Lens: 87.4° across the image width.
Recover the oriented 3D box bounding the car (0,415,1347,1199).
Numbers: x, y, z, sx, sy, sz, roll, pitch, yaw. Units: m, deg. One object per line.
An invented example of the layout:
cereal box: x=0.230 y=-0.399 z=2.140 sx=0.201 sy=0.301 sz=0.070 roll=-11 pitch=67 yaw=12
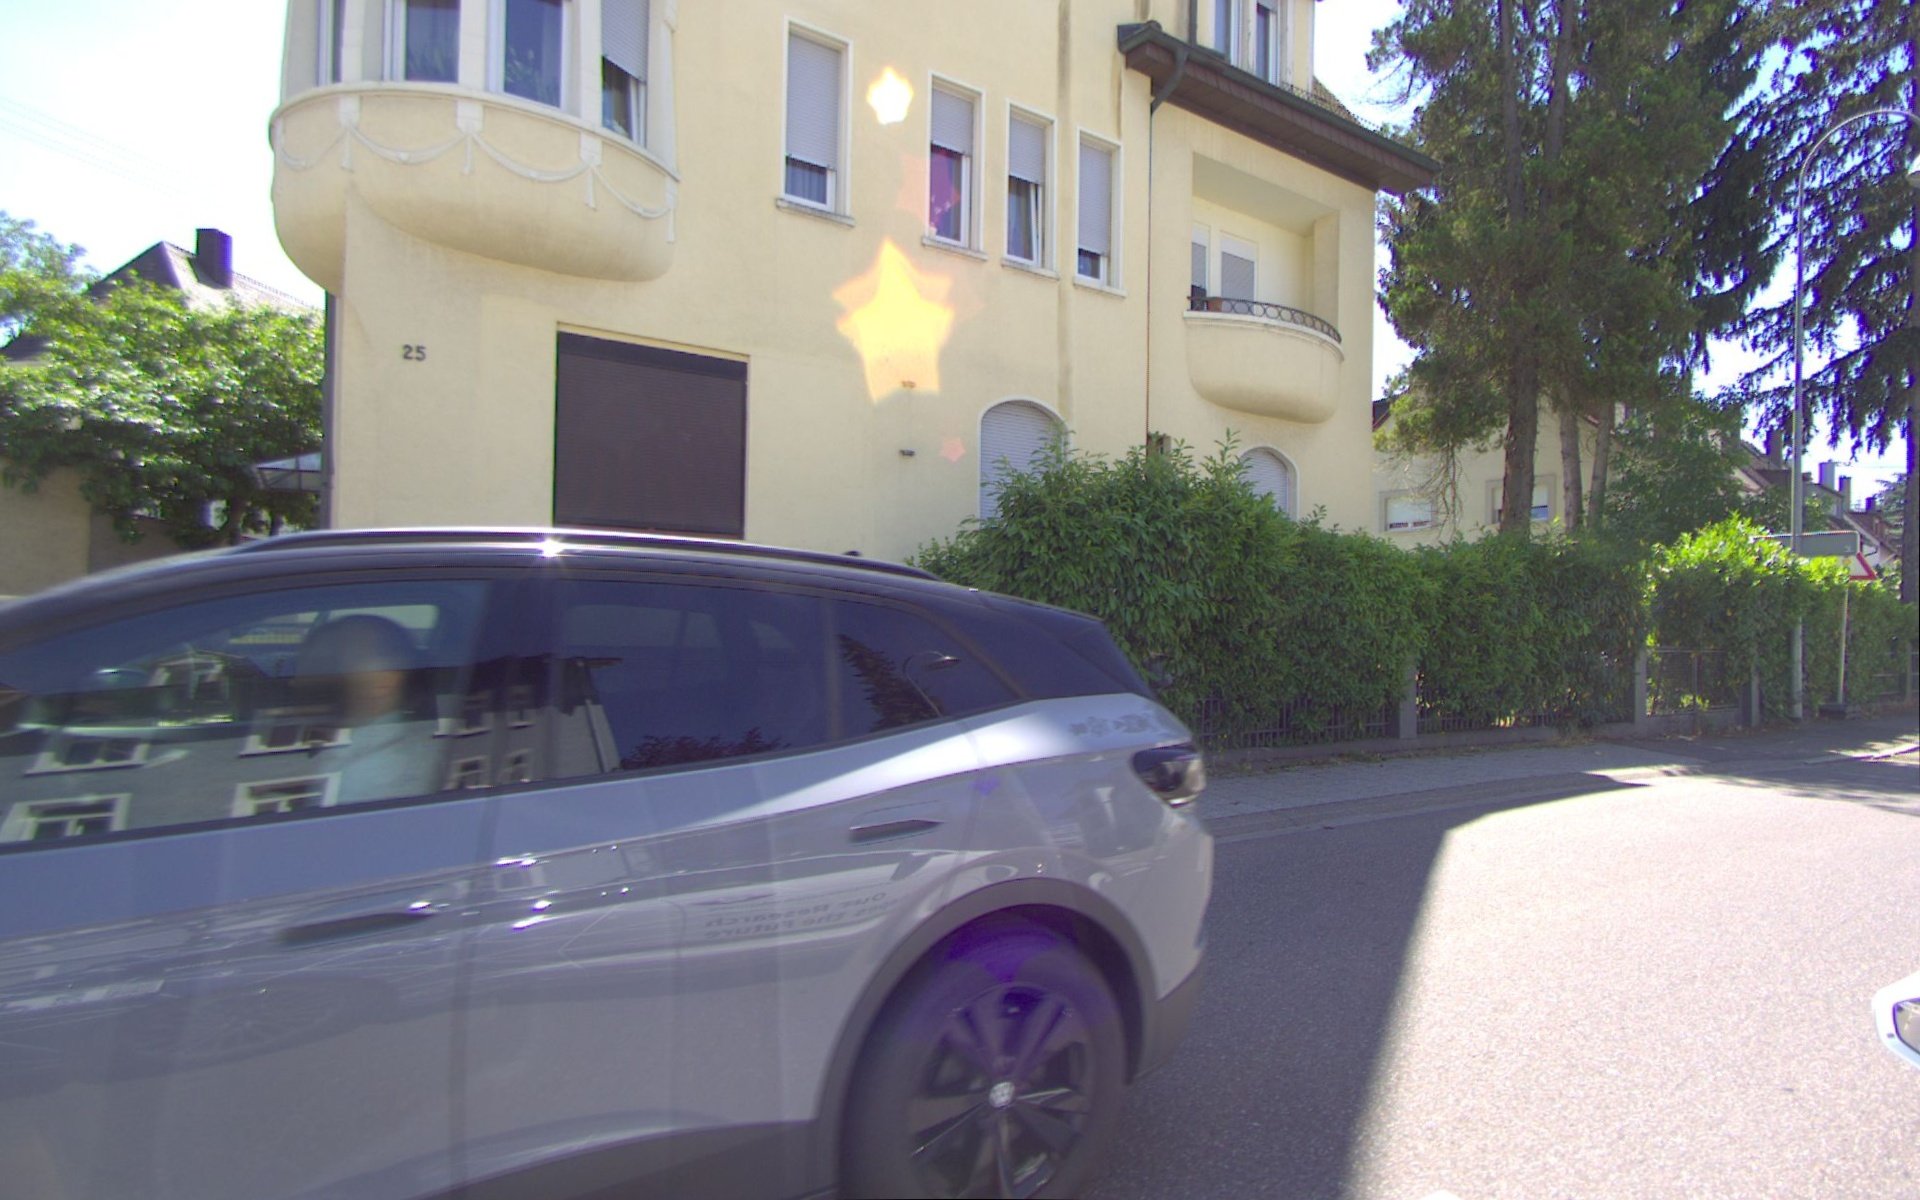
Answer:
car: x=-1.211 y=0.584 z=2.509 sx=4.247 sy=1.638 sz=1.844 roll=2 pitch=-1 yaw=-31

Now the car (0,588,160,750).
car: x=-9.679 y=0.628 z=10.184 sx=1.846 sy=1.398 sz=3.968 roll=2 pitch=-2 yaw=-30
